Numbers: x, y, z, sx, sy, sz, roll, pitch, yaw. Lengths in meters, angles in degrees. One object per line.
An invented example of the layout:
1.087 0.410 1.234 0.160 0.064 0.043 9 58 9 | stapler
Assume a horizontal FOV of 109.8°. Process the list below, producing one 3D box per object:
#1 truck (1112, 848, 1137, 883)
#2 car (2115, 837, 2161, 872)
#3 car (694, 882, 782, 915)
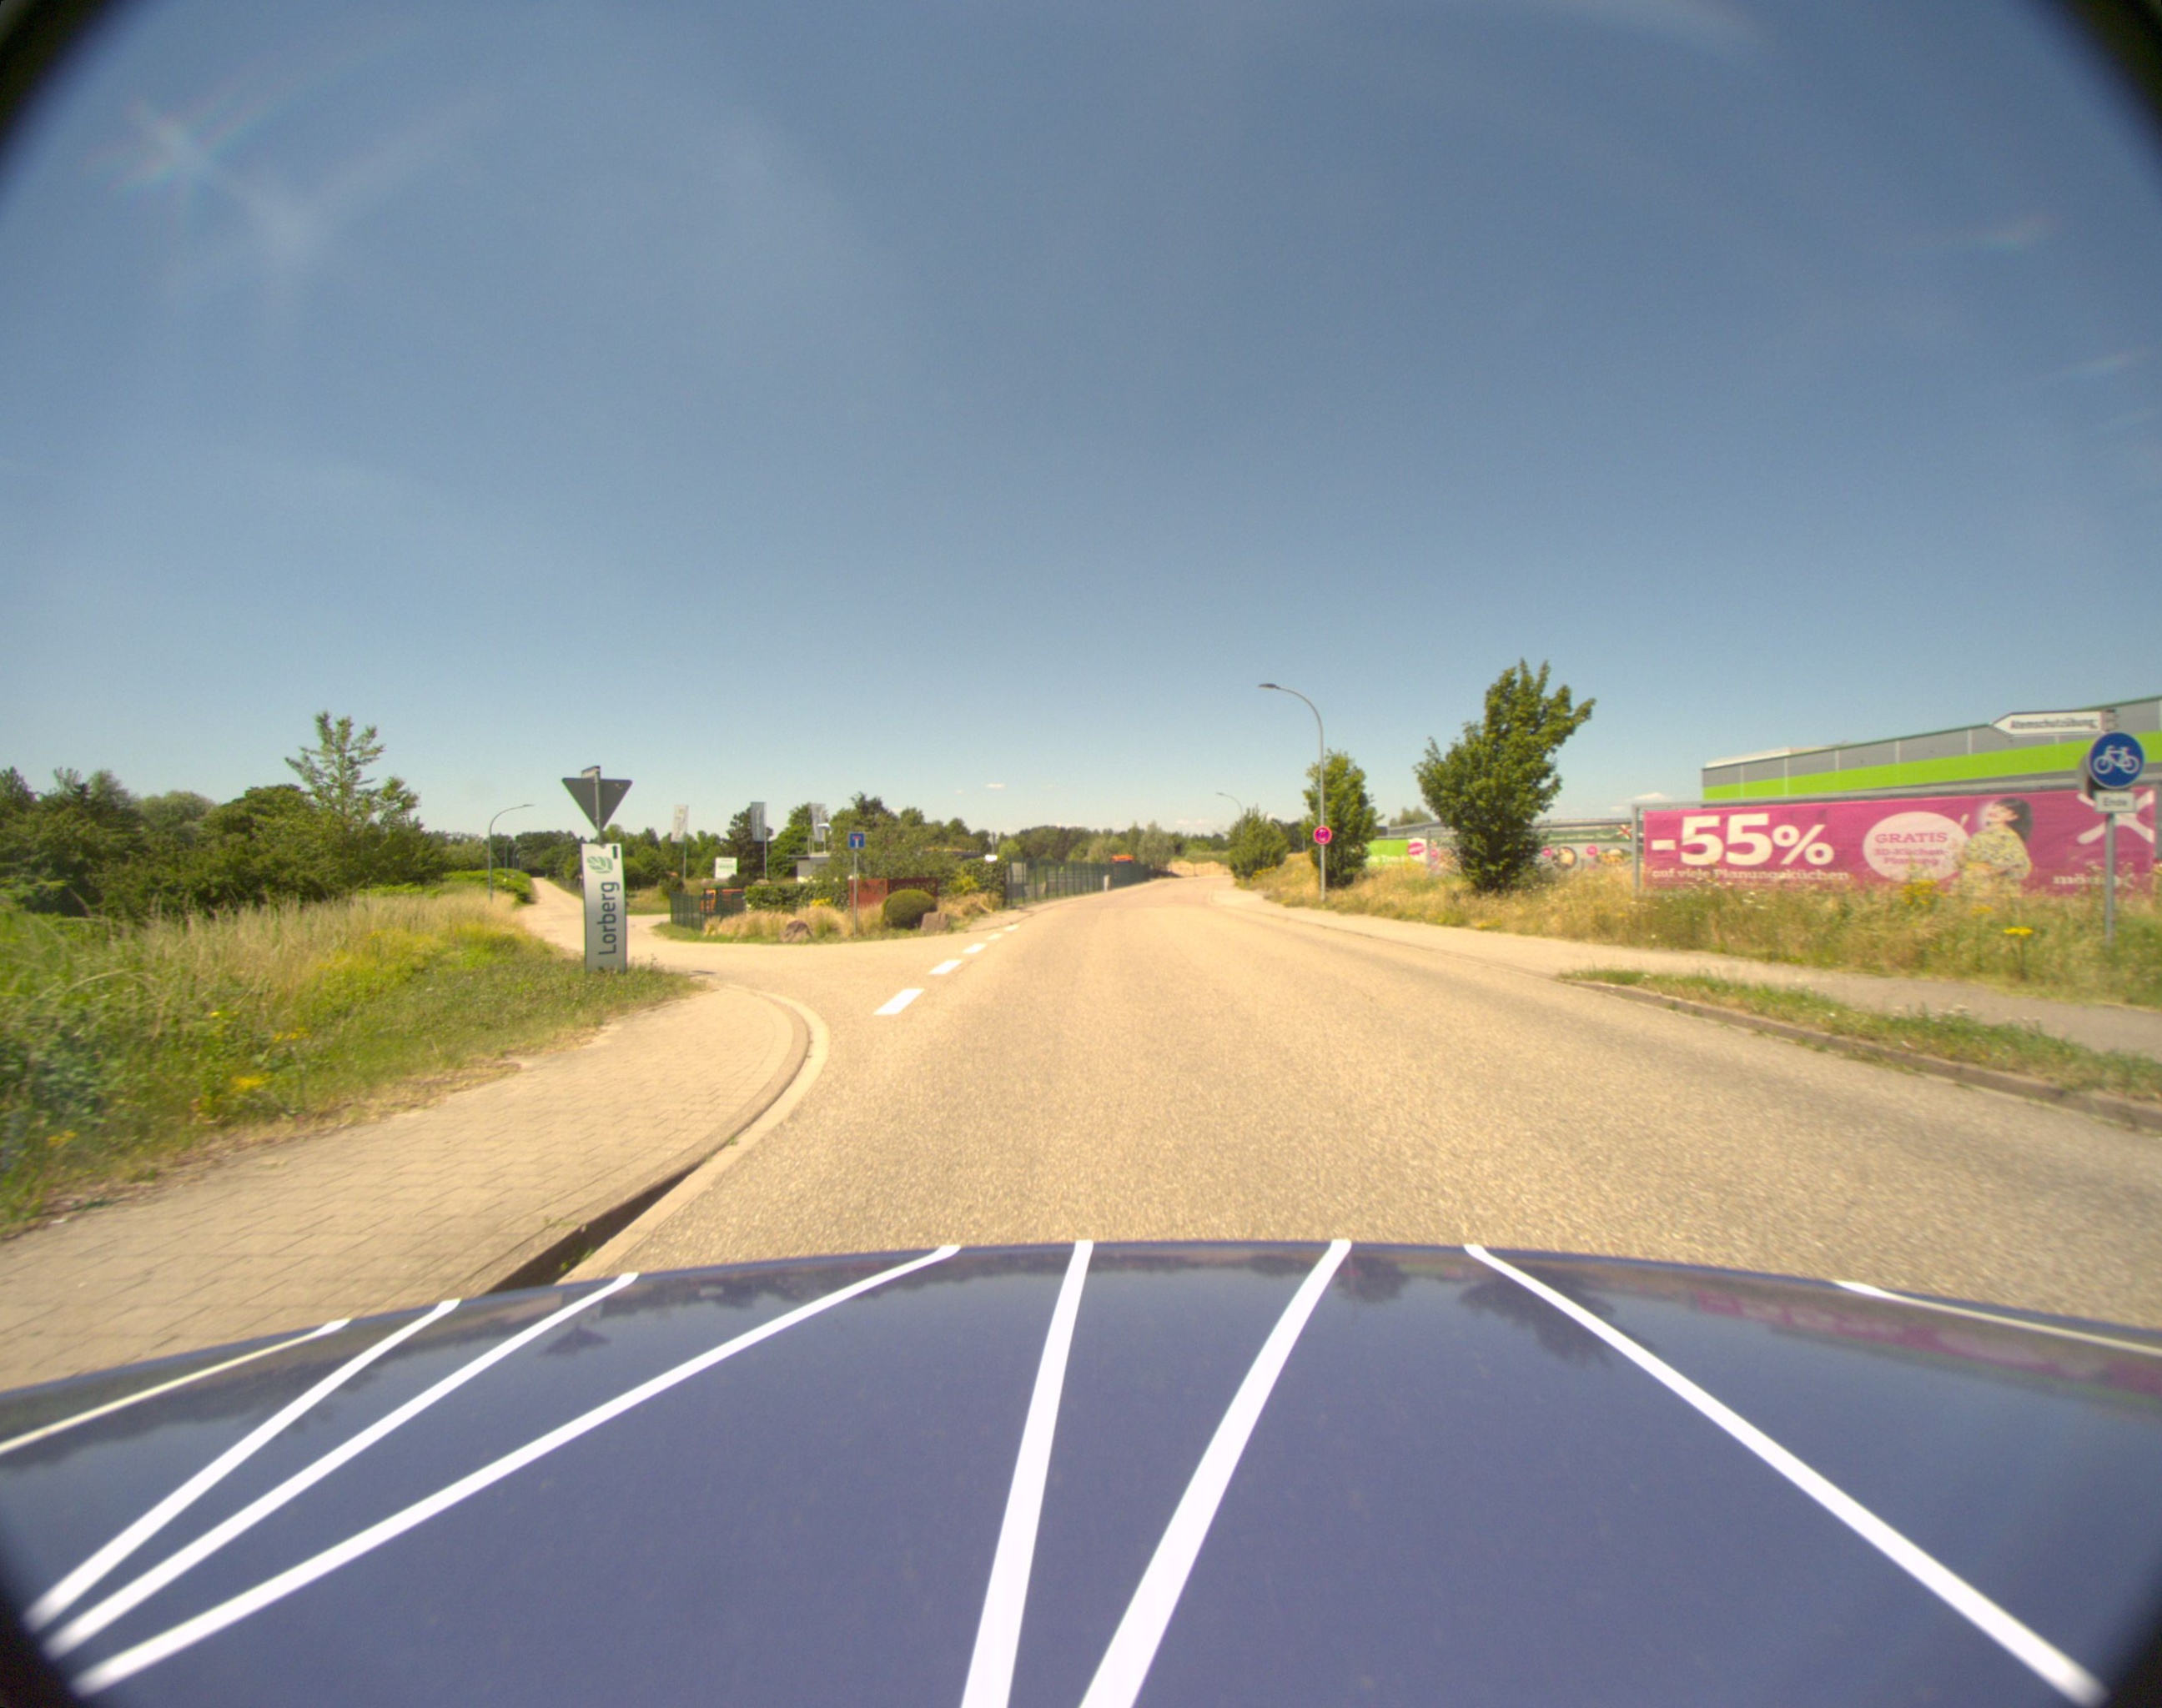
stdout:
5.686 1.488 98.470 2.846 4.171 8.137 -3 -1 5 | truck
67.379 -0.018 46.860 3.994 2.002 1.912 -3 0 11 | car
-24.704 3.190 54.988 1.995 2.001 5.586 -3 -1 29 | car
